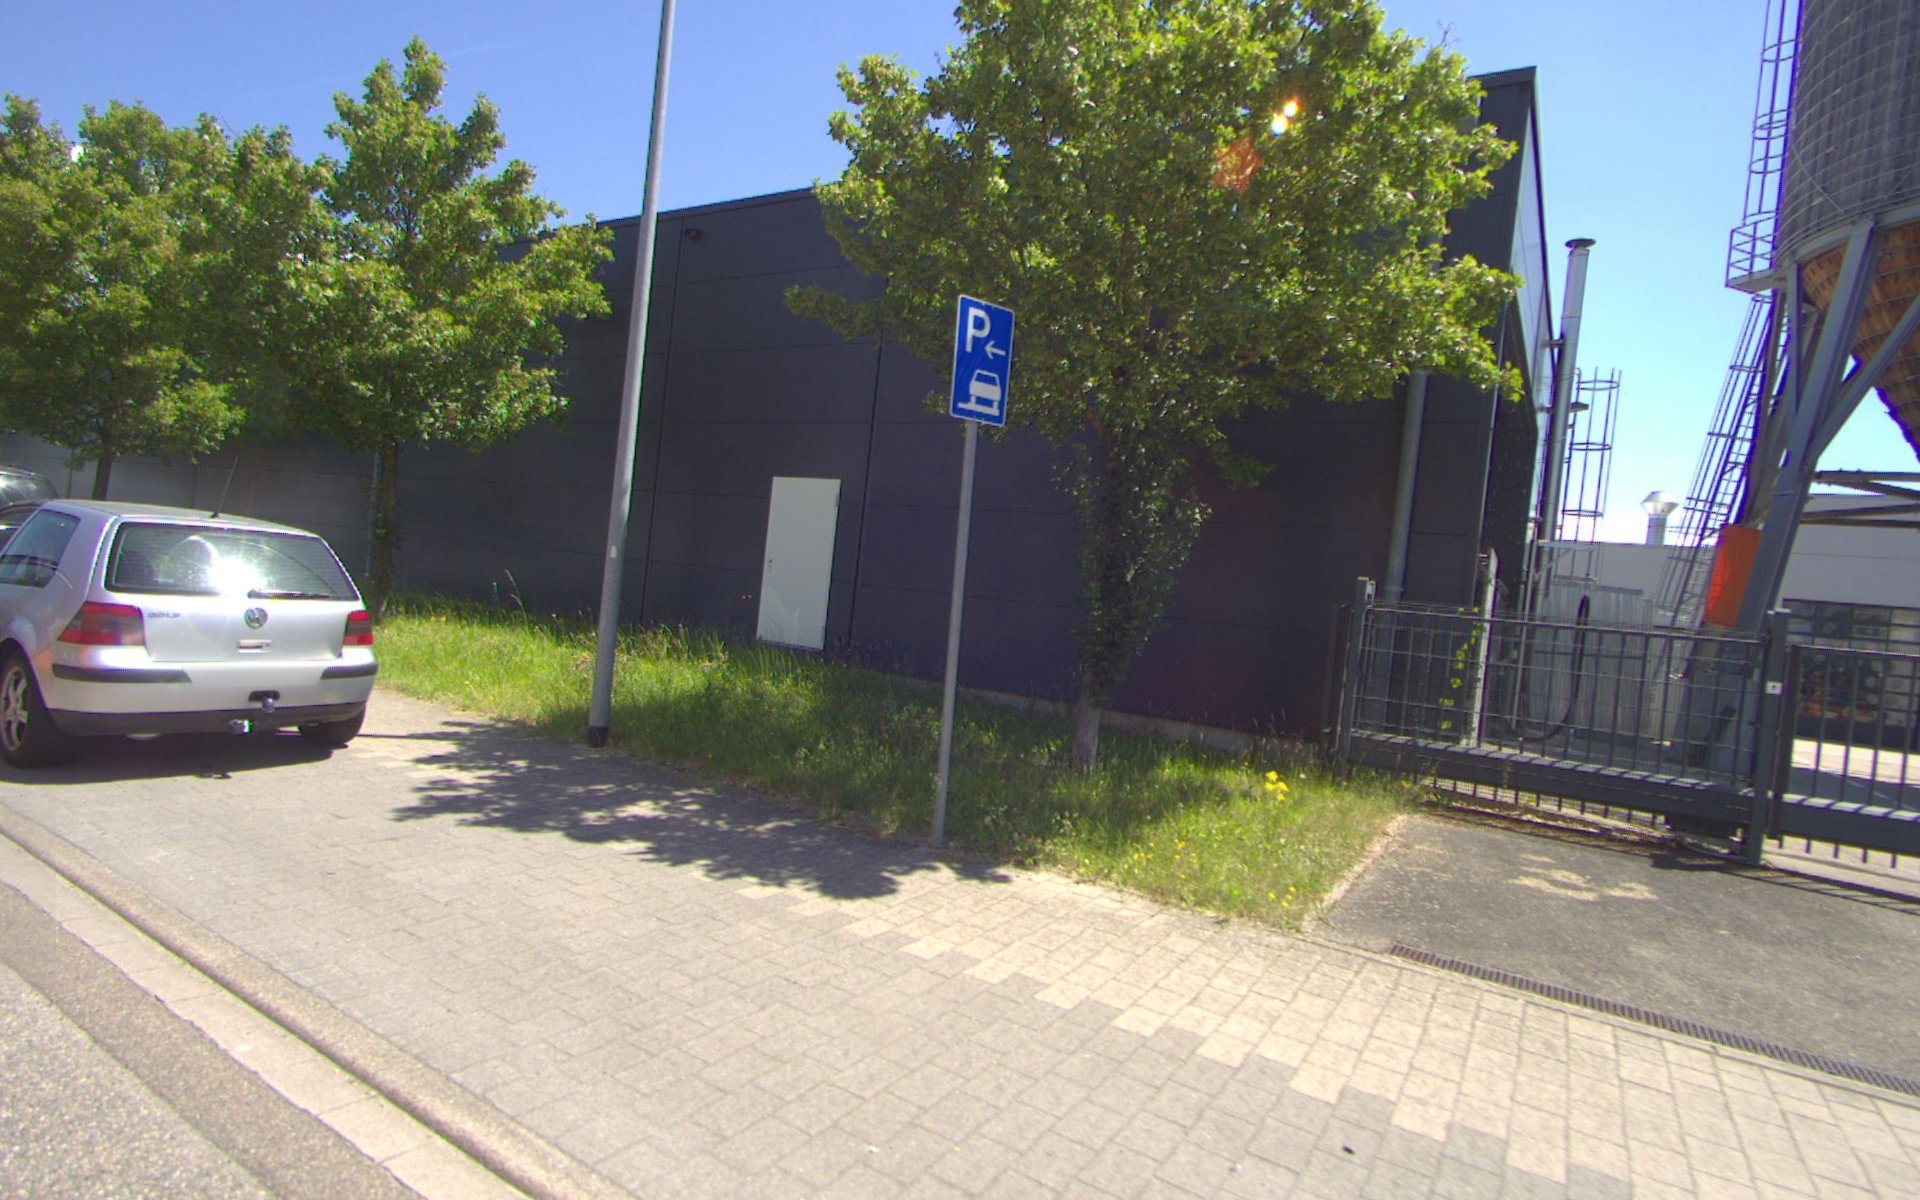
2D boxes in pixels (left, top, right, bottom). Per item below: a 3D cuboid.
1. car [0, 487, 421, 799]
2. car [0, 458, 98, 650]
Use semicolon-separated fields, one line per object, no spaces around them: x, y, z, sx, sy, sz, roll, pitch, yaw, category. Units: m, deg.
-5.635;0.074;6.690;4.119;1.476;1.708;7;1;32;car
-10.402;-0.614;9.814;4.295;1.691;1.739;7;1;32;car
